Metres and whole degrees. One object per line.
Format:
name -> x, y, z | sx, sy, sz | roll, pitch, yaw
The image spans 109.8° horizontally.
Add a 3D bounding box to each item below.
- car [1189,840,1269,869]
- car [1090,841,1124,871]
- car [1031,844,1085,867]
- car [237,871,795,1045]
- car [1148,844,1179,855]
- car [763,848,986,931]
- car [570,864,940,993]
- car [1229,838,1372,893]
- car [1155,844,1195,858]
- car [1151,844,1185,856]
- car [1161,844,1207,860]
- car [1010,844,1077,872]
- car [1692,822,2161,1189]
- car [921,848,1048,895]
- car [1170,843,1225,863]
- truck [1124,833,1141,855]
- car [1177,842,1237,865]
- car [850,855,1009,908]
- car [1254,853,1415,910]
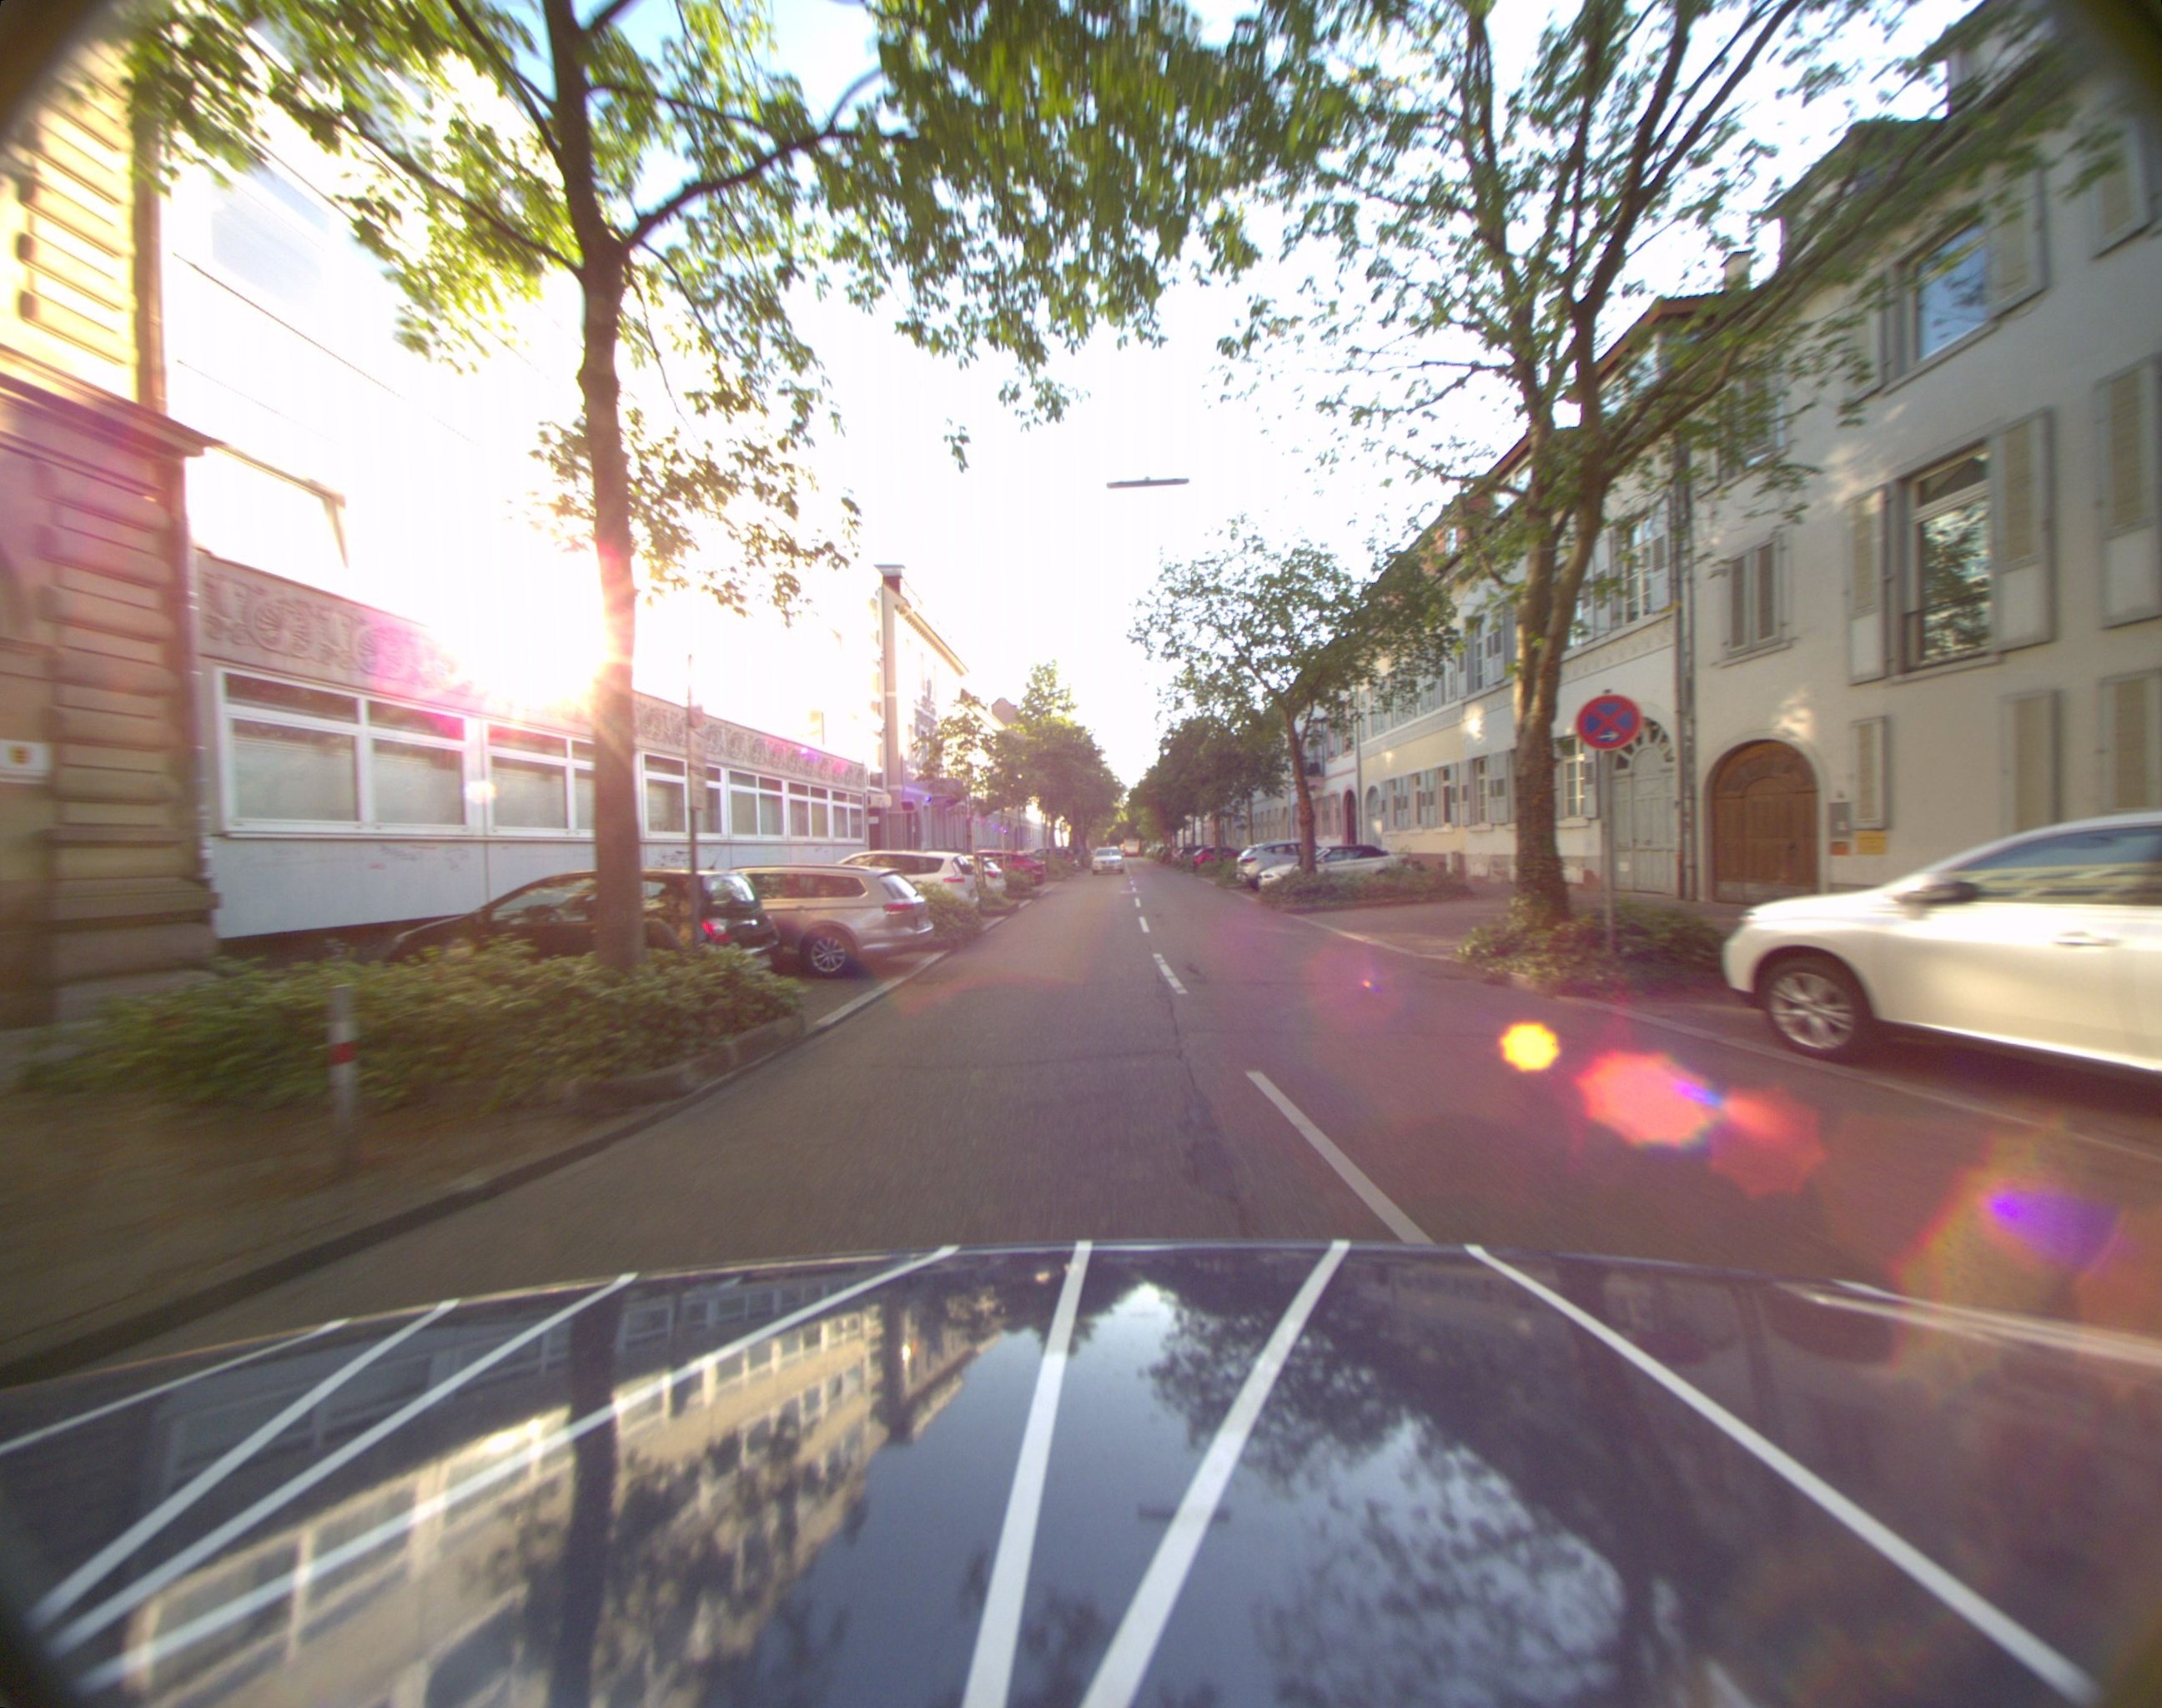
car -> 8.414, 0.019, 43.400 | 4.229, 1.499, 1.801 | -1, 1, 0
car -> 1.620, 0.095, 45.831 | 1.956, 1.667, 4.543 | -1, 1, 3
car -> -1.833, 0.121, 62.340 | 4.368, 1.863, 1.733 | 0, 1, 1
car -> -5.509, 0.979, 7.876 | 4.368, 1.456, 1.833 | 1, 1, -1
car -> 11.694, -0.624, 107.951 | 4.229, 1.508, 1.969 | -1, 1, 0
car -> -4.449, 0.736, 16.927 | 4.368, 1.633, 2.054 | 1, 1, 1
car -> -4.307, 0.946, 10.446 | 4.367, 1.487, 1.672 | 1, 1, 3
car -> 7.214, 0.349, 25.255 | 4.229, 1.680, 1.800 | -1, 1, 0
car -> 10.527, -0.348, 85.510 | 4.229, 1.468, 1.969 | -1, 1, 0
car -> 11.423, -0.493, 99.480 | 4.229, 1.468, 1.969 | -1, 1, 0
car -> 9.867, -0.174, 73.054 | 4.229, 1.468, 1.854 | -1, 1, 0
car -> -2.468, 0.273, 50.717 | 4.368, 1.768, 1.733 | 1, 1, 1
car -> 6.045, 0.709, 3.886 | 1.833, 1.658, 4.654 | -5, 1, -3
car -> -3.464, 0.618, 27.816 | 4.368, 1.615, 1.733 | 1, 1, 1
car -> 9.503, -0.104, 62.249 | 4.229, 1.509, 1.759 | -1, 1, 0
truck -> 9.057, -1.760, 133.218 | 2.747, 3.723, 7.856 | -1, 1, 4
car -> 9.494, -0.030, 57.589 | 4.229, 1.654, 1.800 | -1, 1, 0
car -> -4.467, 0.804, 22.851 | 4.368, 1.485, 1.887 | 0, 1, 1
car -> 7.394, 0.787, 22.516 | 4.227, 1.536, 1.801 | -1, 1, 6
